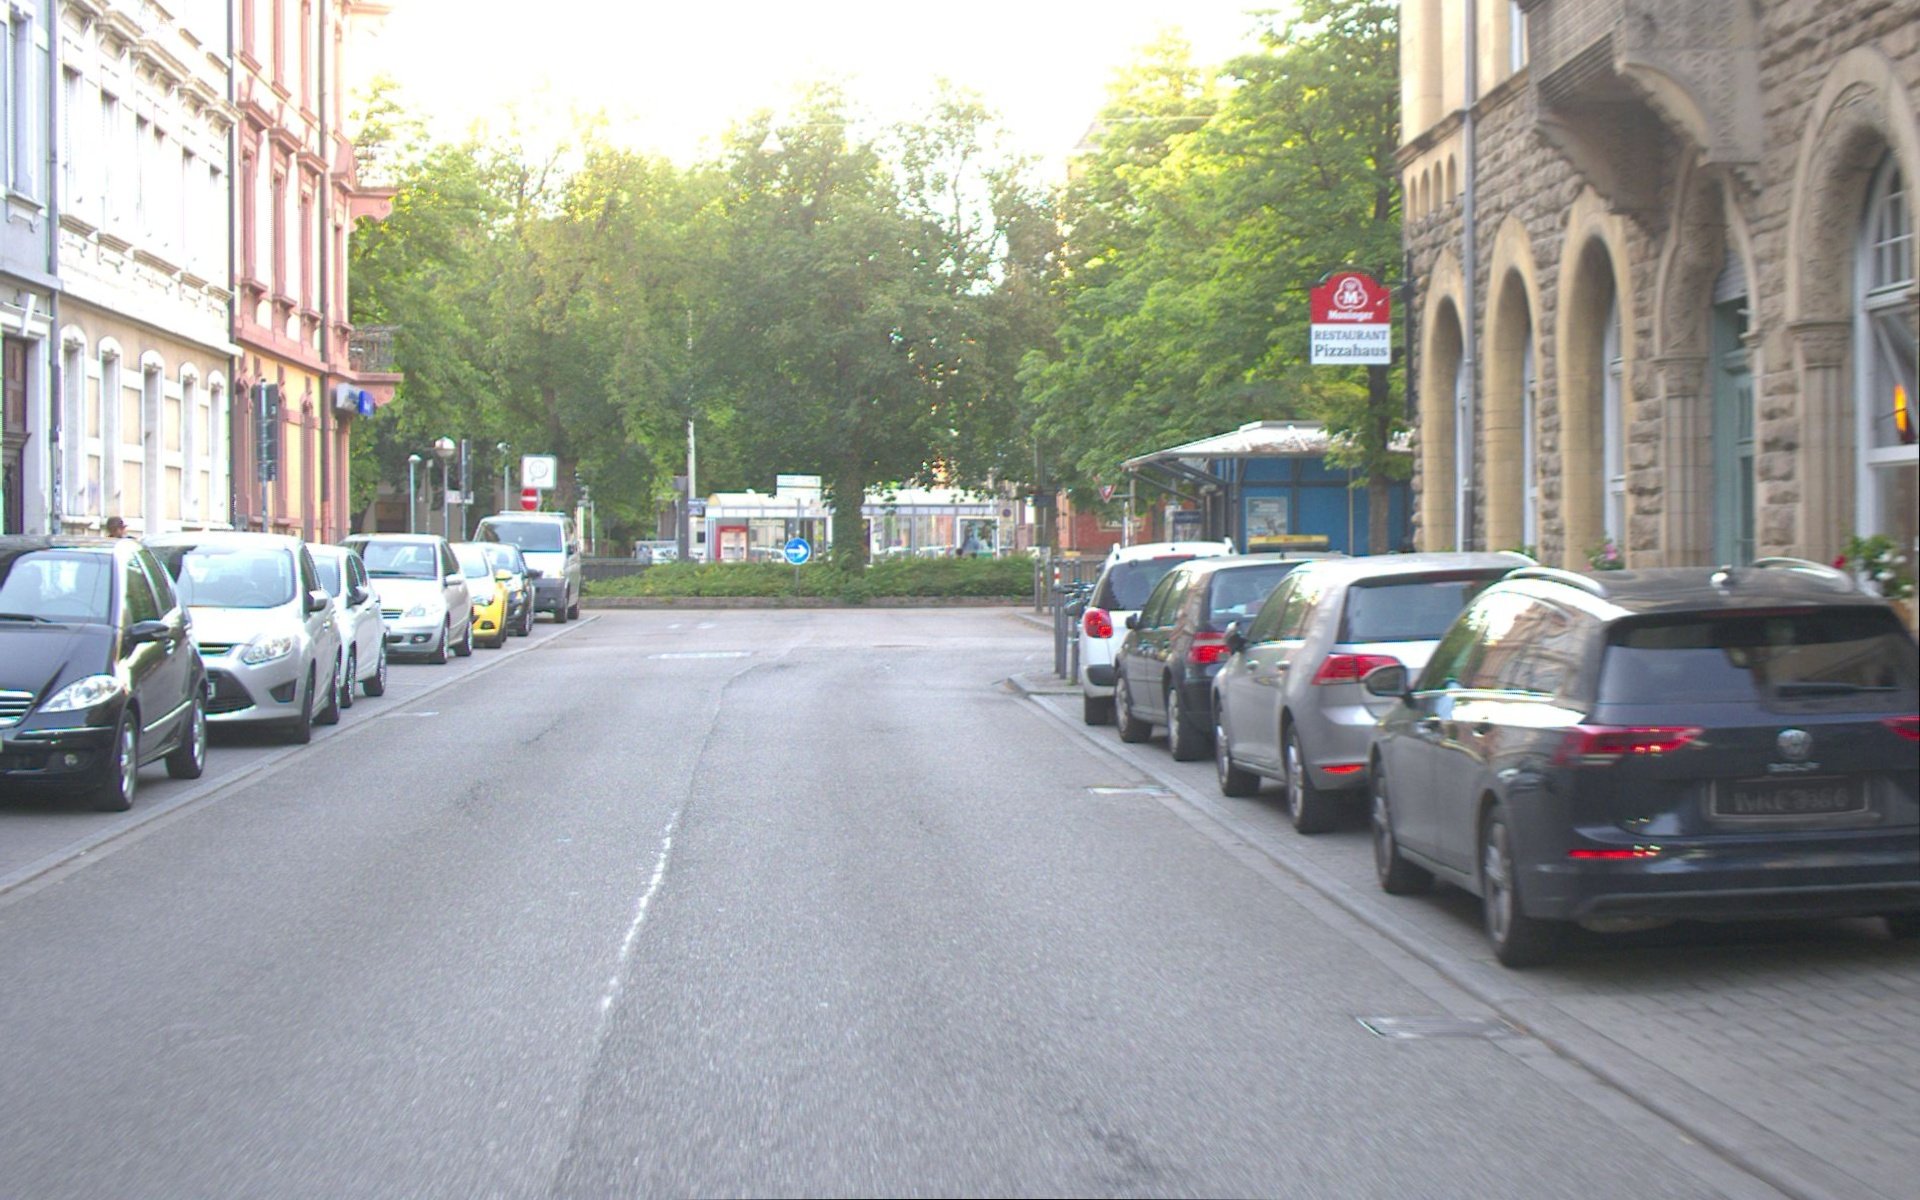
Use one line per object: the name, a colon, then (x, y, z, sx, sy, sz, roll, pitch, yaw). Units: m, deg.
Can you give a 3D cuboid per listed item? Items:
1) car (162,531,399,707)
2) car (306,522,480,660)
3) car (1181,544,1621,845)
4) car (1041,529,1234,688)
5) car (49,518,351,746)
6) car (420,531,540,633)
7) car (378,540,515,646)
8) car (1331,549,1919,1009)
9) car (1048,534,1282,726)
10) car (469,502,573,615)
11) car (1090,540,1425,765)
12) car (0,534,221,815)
car: (-6.430, 0.143, 32.828, 1.698, 1.547, 3.570, 2, 1, -3)
car: (-7.111, -0.137, 43.402, 1.698, 1.615, 4.022, 2, 1, -3)
car: (2.418, 0.452, 19.854, 1.676, 1.451, 4.231, -3, 1, -4)
car: (1.822, 0.043, 36.340, 1.676, 1.496, 4.018, -3, 1, -1)
car: (-5.943, 0.201, 27.317, 1.844, 1.653, 4.253, 0, 1, -6)
car: (-7.725, -0.311, 55.574, 1.698, 1.547, 4.023, 2, 1, -5)
car: (-7.376, -0.128, 49.654, 1.698, 1.421, 4.023, 2, 1, -5)
car: (2.697, 0.570, 13.855, 1.676, 1.424, 4.478, -4, 1, -2)
car: (1.752, 0.210, 30.467, 1.676, 1.496, 3.901, -3, 1, -1)
car: (-8.126, -0.775, 63.708, 1.810, 1.970, 4.187, 2, 1, -7)
car: (2.116, 0.328, 25.451, 1.676, 1.451, 3.801, -3, 1, -6)
car: (-5.664, 0.383, 21.143, 1.636, 1.560, 3.782, 1, 1, -4)
